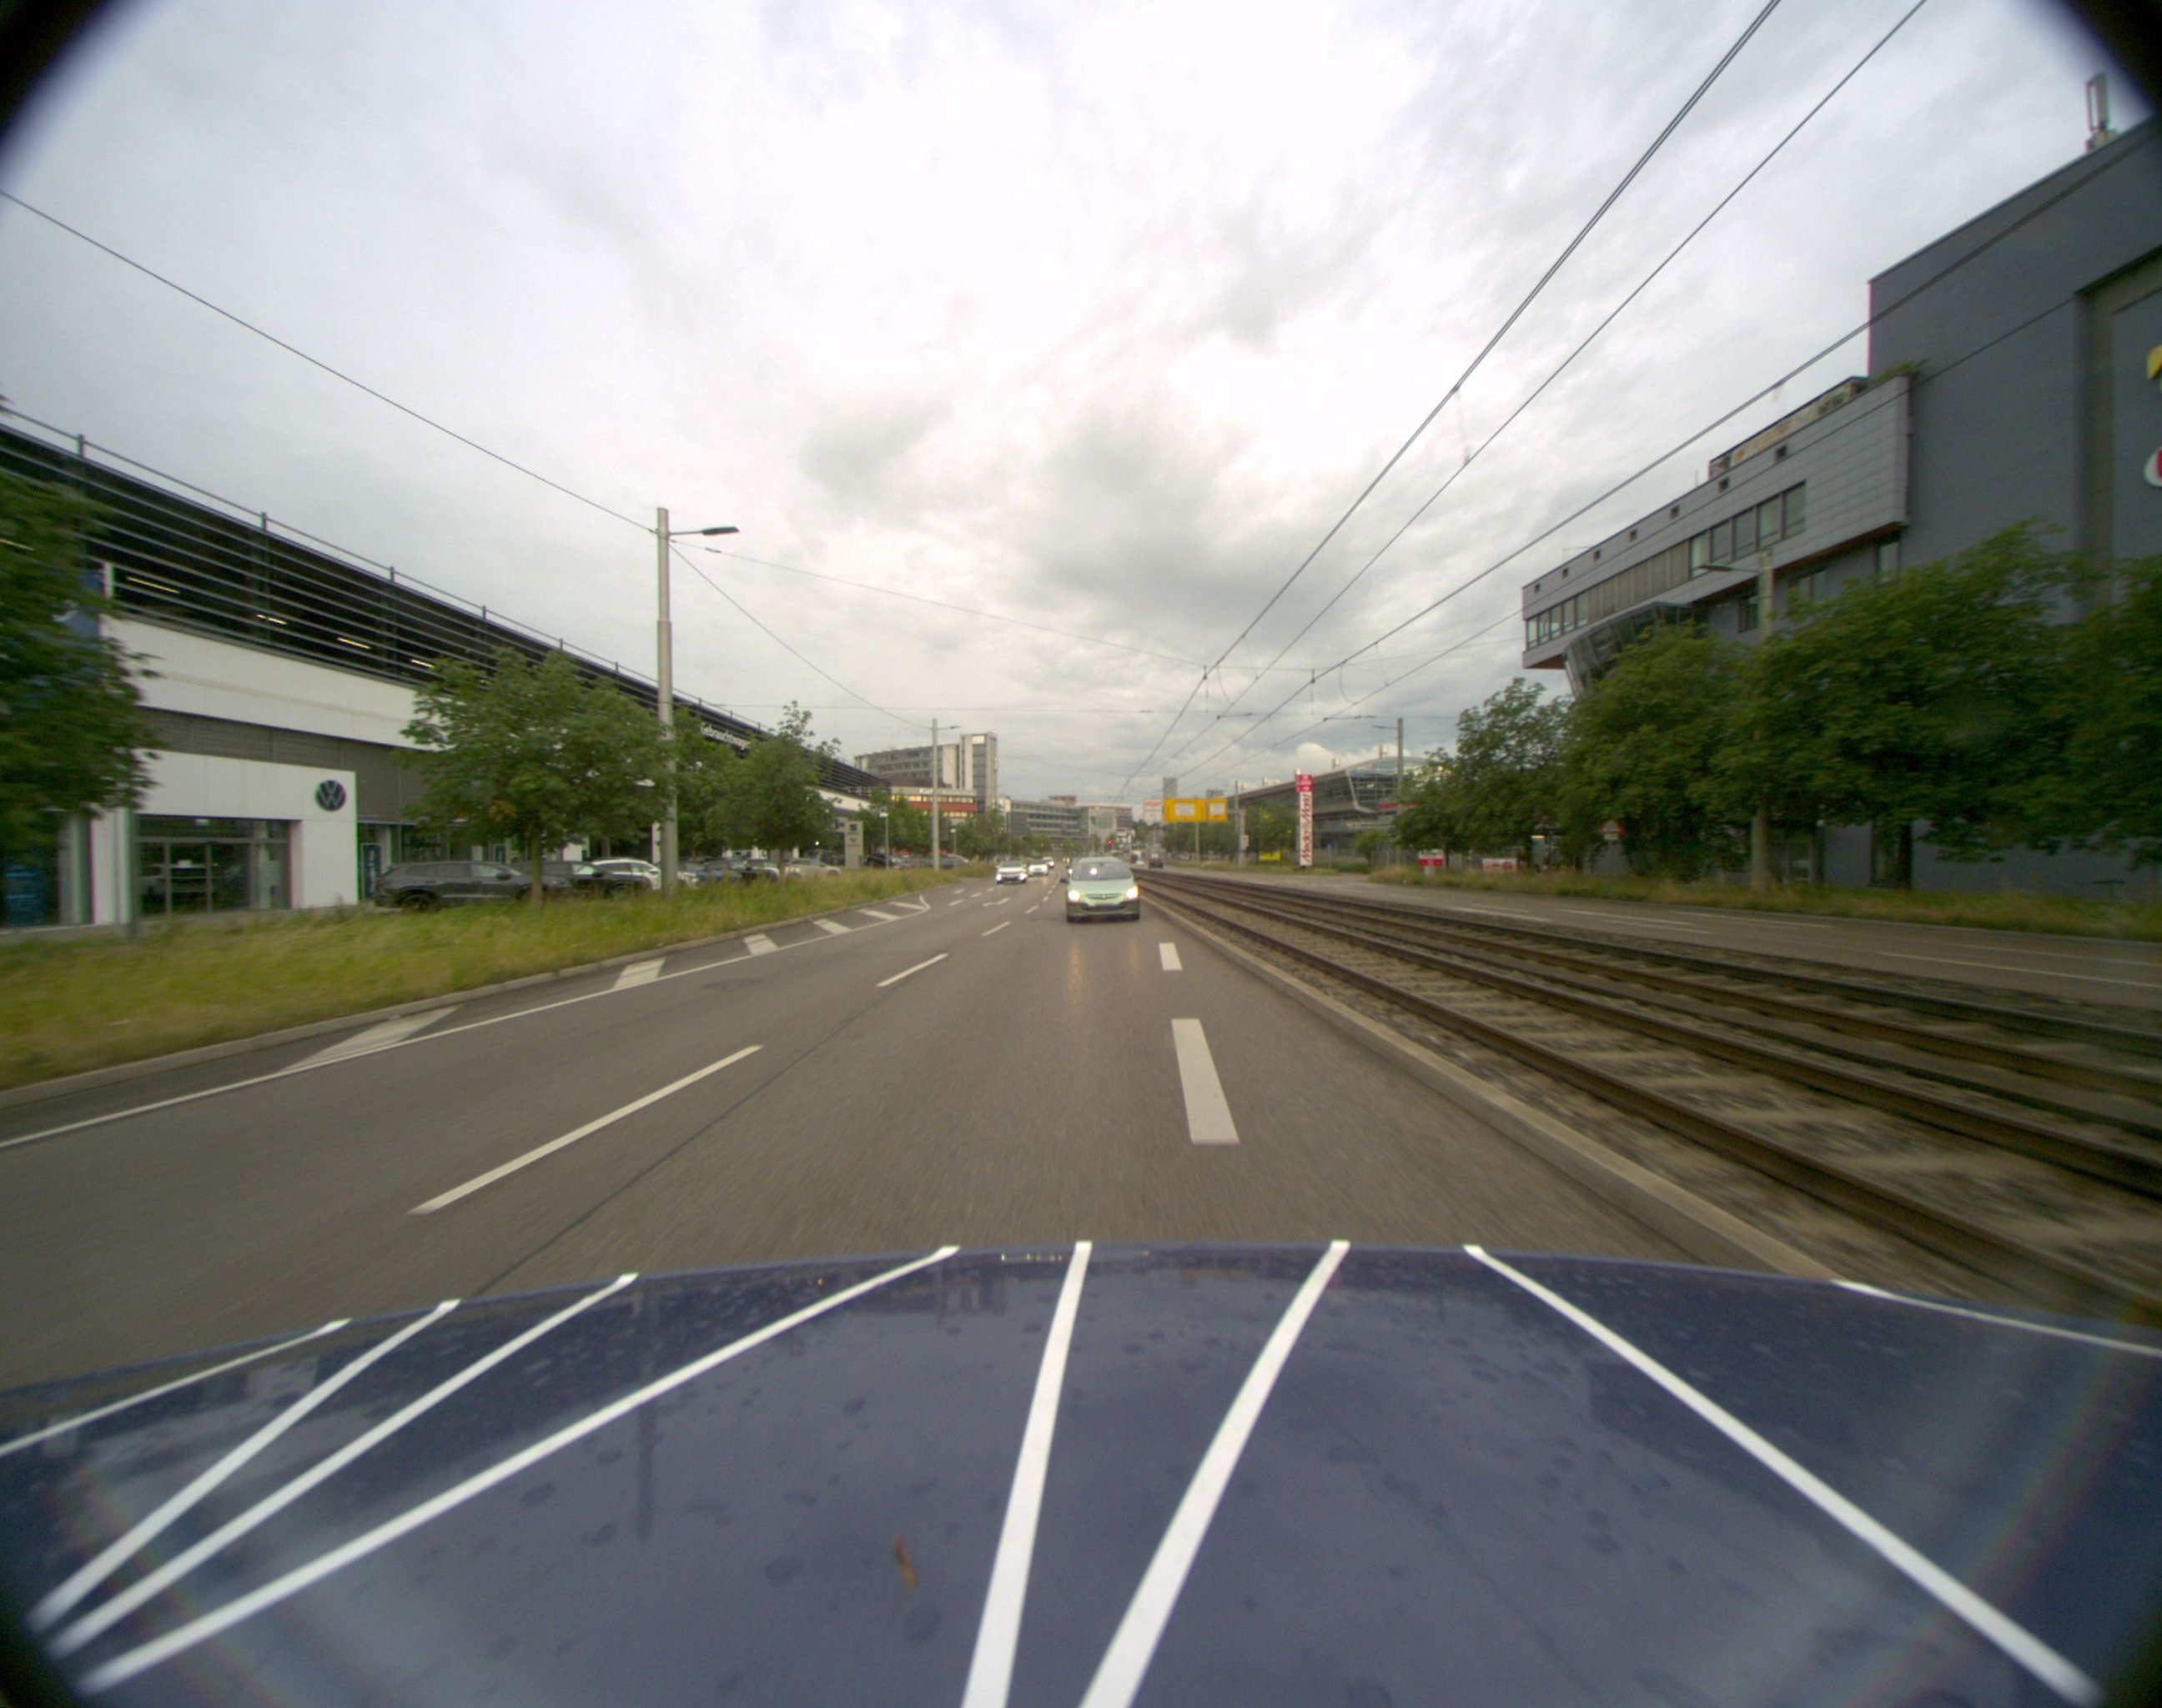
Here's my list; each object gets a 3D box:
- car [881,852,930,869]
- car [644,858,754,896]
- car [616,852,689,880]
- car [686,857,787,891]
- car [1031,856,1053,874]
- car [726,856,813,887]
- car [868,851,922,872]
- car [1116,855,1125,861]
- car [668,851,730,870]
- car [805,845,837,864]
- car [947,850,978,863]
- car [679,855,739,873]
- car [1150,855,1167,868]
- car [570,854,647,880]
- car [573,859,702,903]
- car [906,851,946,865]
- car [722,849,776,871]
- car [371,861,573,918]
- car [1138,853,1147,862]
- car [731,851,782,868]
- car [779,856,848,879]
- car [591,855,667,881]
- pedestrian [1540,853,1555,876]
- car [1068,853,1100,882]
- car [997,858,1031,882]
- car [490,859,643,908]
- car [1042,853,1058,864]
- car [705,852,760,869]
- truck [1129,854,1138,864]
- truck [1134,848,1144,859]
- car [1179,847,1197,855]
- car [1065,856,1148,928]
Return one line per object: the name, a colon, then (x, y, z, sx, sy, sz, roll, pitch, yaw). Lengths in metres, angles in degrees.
car: (-17.372, 0.663, 75.108, 4.342, 1.603, 1.865, 1, 0, -30)
car: (-17.178, 0.983, 34.226, 4.198, 1.560, 1.794, 0, 1, -36)
car: (-30.270, 0.857, 53.752, 3.997, 1.718, 1.891, -3, 1, 1)
car: (-17.053, 0.948, 37.738, 4.199, 1.560, 1.794, 0, 2, -42)
car: (-3.555, 0.949, 69.521, 1.819, 1.584, 3.836, -1, 0, -1)
car: (-17.106, 0.924, 41.777, 4.108, 1.560, 1.794, 0, 1, -38)
car: (-17.436, 0.659, 71.056, 4.710, 1.865, 1.828, 1, 0, 22)
car: (8.716, 0.841, 168.709, 1.807, 1.420, 4.235, 0, 0, -1)
car: (-30.033, 0.511, 59.822, 3.998, 1.416, 1.764, 0, 1, -2)
car: (-26.513, 0.052, 77.538, 1.892, 1.927, 4.428, -1, 0, -3)
car: (-18.851, 0.336, 121.006, 4.504, 1.980, 1.818, 1, 0, -19)
car: (-30.346, 0.806, 62.077, 3.998, 1.416, 1.764, 0, 1, -2)
car: (11.238, 1.086, 110.744, 1.999, 1.725, 4.212, 1, -1, -1)
car: (-30.231, 0.824, 48.684, 3.827, 1.578, 1.638, 0, 1, -4)
car: (-17.773, 1.029, 30.564, 4.362, 1.617, 1.851, 0, 1, -31)
car: (-17.626, 0.438, 86.546, 4.157, 1.560, 1.905, 1, 0, -22)
car: (-30.382, 0.520, 69.549, 4.037, 1.964, 1.944, 0, 1, -2)
car: (-18.525, 1.030, 23.444, 4.634, 1.559, 1.847, 0, 1, -31)
car: (12.170, 0.681, 150.846, 1.602, 1.529, 2.949, 2, 4, 0)
car: (-30.675, 0.516, 72.003, 3.998, 1.622, 1.904, 0, 0, -2)
car: (-17.987, 0.861, 51.168, 4.107, 1.457, 1.743, 0, 1, -34)
car: (-30.647, 0.956, 51.551, 3.997, 1.499, 1.786, -3, 1, 1)
pedestrian: (34.425, 0.790, 56.079, 0.810, 1.669, 0.580, 0, 1, -12)
car: (0.189, 0.783, 45.082, 1.762, 1.535, 3.714, -3, 0, 0)
car: (-4.385, 1.037, 50.437, 1.878, 1.485, 3.836, -1, 0, 0)
car: (-18.190, 0.999, 27.108, 4.383, 1.560, 1.794, 0, 1, -32)
car: (-4.663, 0.647, 113.634, 1.889, 1.584, 3.982, -1, 0, 4)
car: (-30.612, 0.561, 66.857, 3.998, 1.528, 1.904, 0, 1, -2)
truck: (14.352, 1.386, 207.847, 2.243, 2.550, 7.016, -1, 0, 3)
truck: (18.464, -0.163, 240.562, 2.734, 3.339, 7.149, 1, 3, 1)
car: (32.734, -0.965, 233.095, 5.068, 2.318, 1.997, 0, 0, -18)
car: (0.529, 0.851, 18.996, 1.762, 1.489, 4.136, -3, 0, -1)
